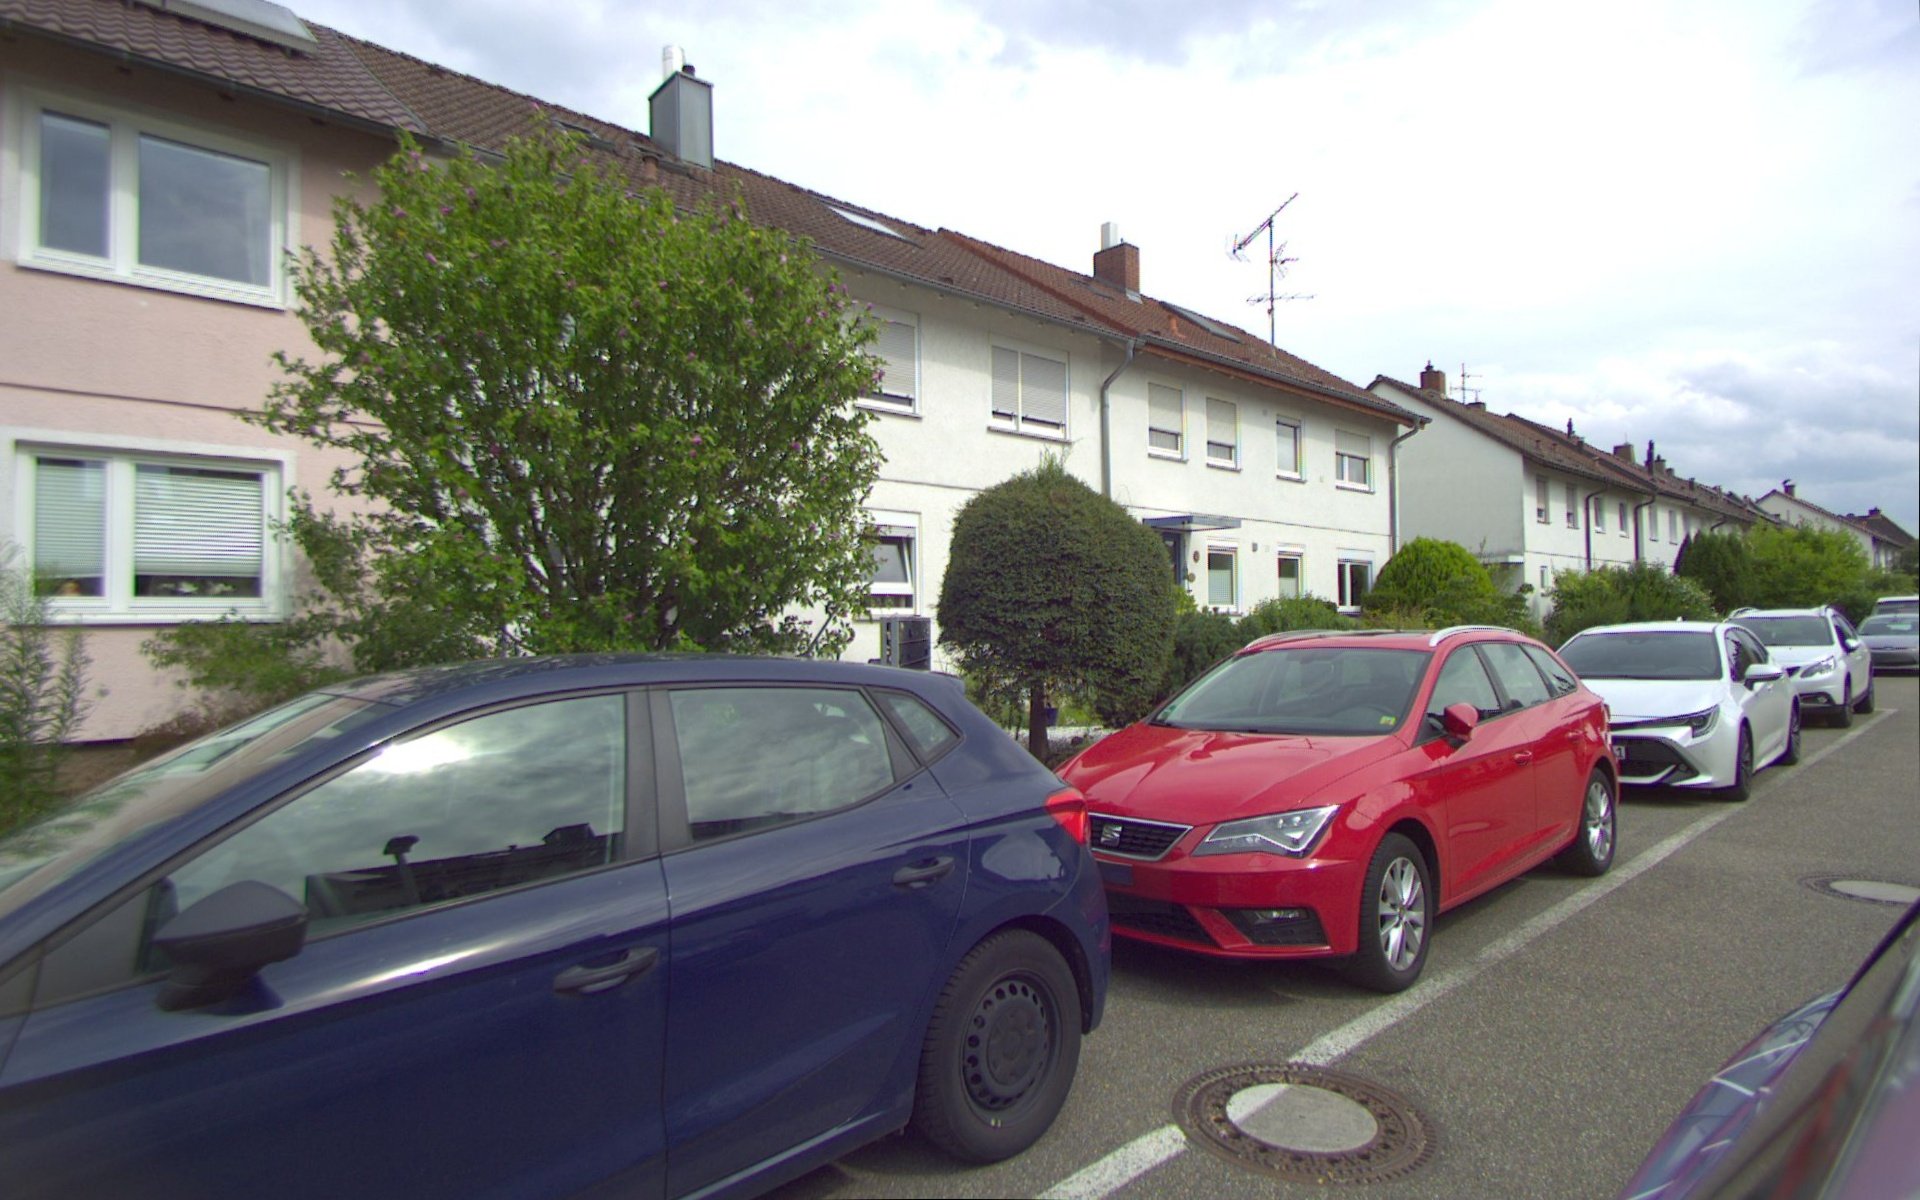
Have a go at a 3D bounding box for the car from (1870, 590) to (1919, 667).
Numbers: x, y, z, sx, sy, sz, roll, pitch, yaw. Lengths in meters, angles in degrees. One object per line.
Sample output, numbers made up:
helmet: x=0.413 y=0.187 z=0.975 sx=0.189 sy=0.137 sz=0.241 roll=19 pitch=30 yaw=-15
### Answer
car: x=26.403 y=0.748 z=27.579 sx=4.668 sy=1.972 sz=2.022 roll=1 pitch=-1 yaw=-44

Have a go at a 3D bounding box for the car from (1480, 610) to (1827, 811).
car: x=6.680 y=0.816 z=9.517 sx=4.560 sy=1.431 sz=1.839 roll=1 pitch=-1 yaw=-44

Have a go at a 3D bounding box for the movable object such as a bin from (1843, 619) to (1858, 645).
movable object such as a bin: x=35.812 y=1.290 z=40.706 sx=0.403 sy=1.047 sz=0.779 roll=-2 pitch=-2 yaw=40

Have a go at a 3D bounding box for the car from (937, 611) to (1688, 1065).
car: x=2.265 y=0.841 z=5.586 sx=4.742 sy=1.455 sz=1.775 roll=0 pitch=-3 yaw=-41

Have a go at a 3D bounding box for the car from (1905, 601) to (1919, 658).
car: x=30.107 y=0.886 z=30.804 sx=1.811 sy=1.672 sz=4.339 roll=-1 pitch=-1 yaw=45

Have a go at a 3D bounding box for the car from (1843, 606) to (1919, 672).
car: x=22.714 y=0.891 z=24.176 sx=4.057 sy=1.478 sz=1.903 roll=1 pitch=-1 yaw=-41

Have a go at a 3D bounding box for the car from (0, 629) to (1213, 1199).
car: x=-1.352 y=0.796 z=2.509 sx=4.190 sy=1.373 sz=1.775 roll=1 pitch=-1 yaw=-41

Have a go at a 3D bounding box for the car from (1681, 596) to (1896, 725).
car: x=11.718 y=0.781 z=14.230 sx=3.905 sy=1.564 sz=1.715 roll=1 pitch=-3 yaw=-42
